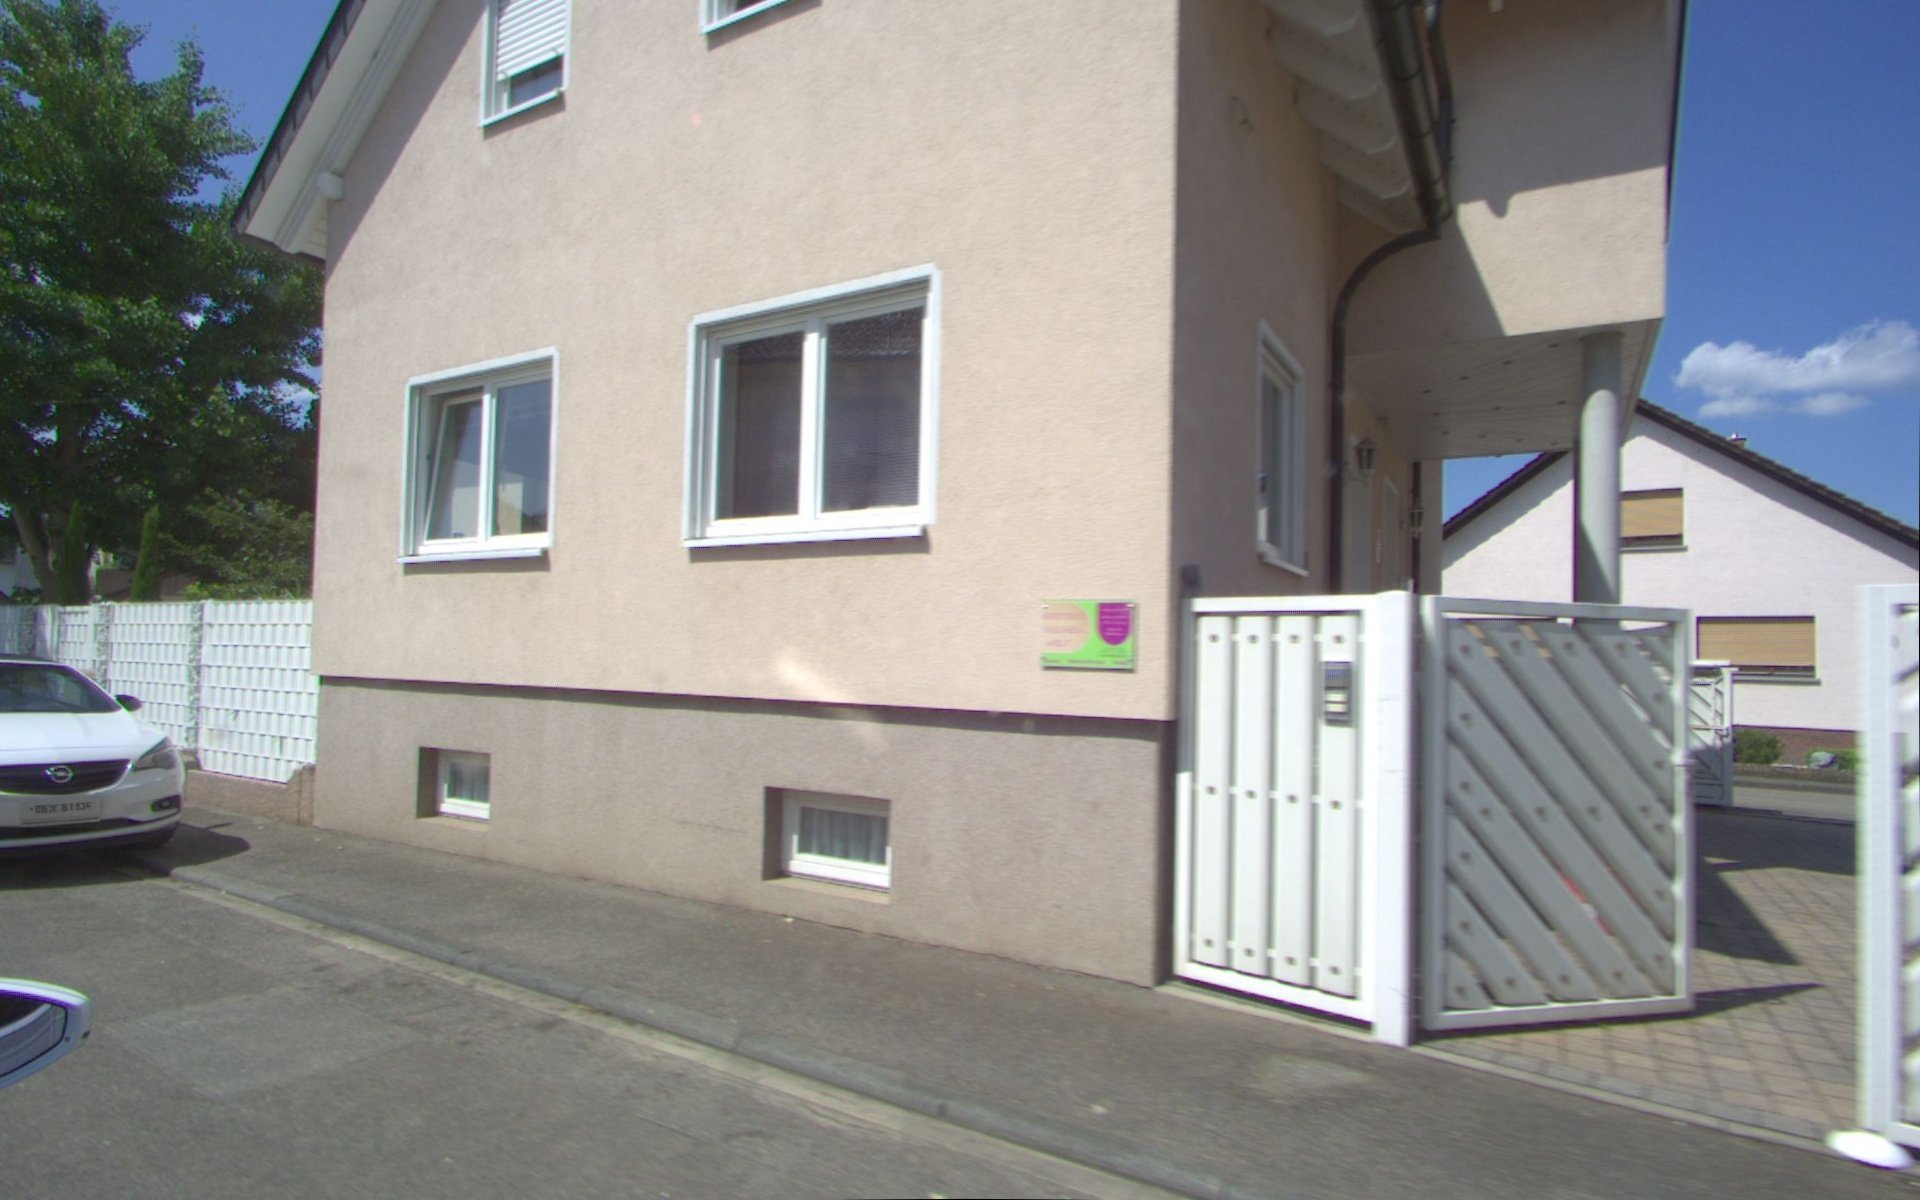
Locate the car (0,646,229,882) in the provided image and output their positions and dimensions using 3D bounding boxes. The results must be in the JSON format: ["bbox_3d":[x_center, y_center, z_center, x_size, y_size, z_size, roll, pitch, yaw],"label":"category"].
[{"bbox_3d":[-7.815,1.076,7.706,4.669,1.446,1.894,-1,-4,32],"label":"car"}]
